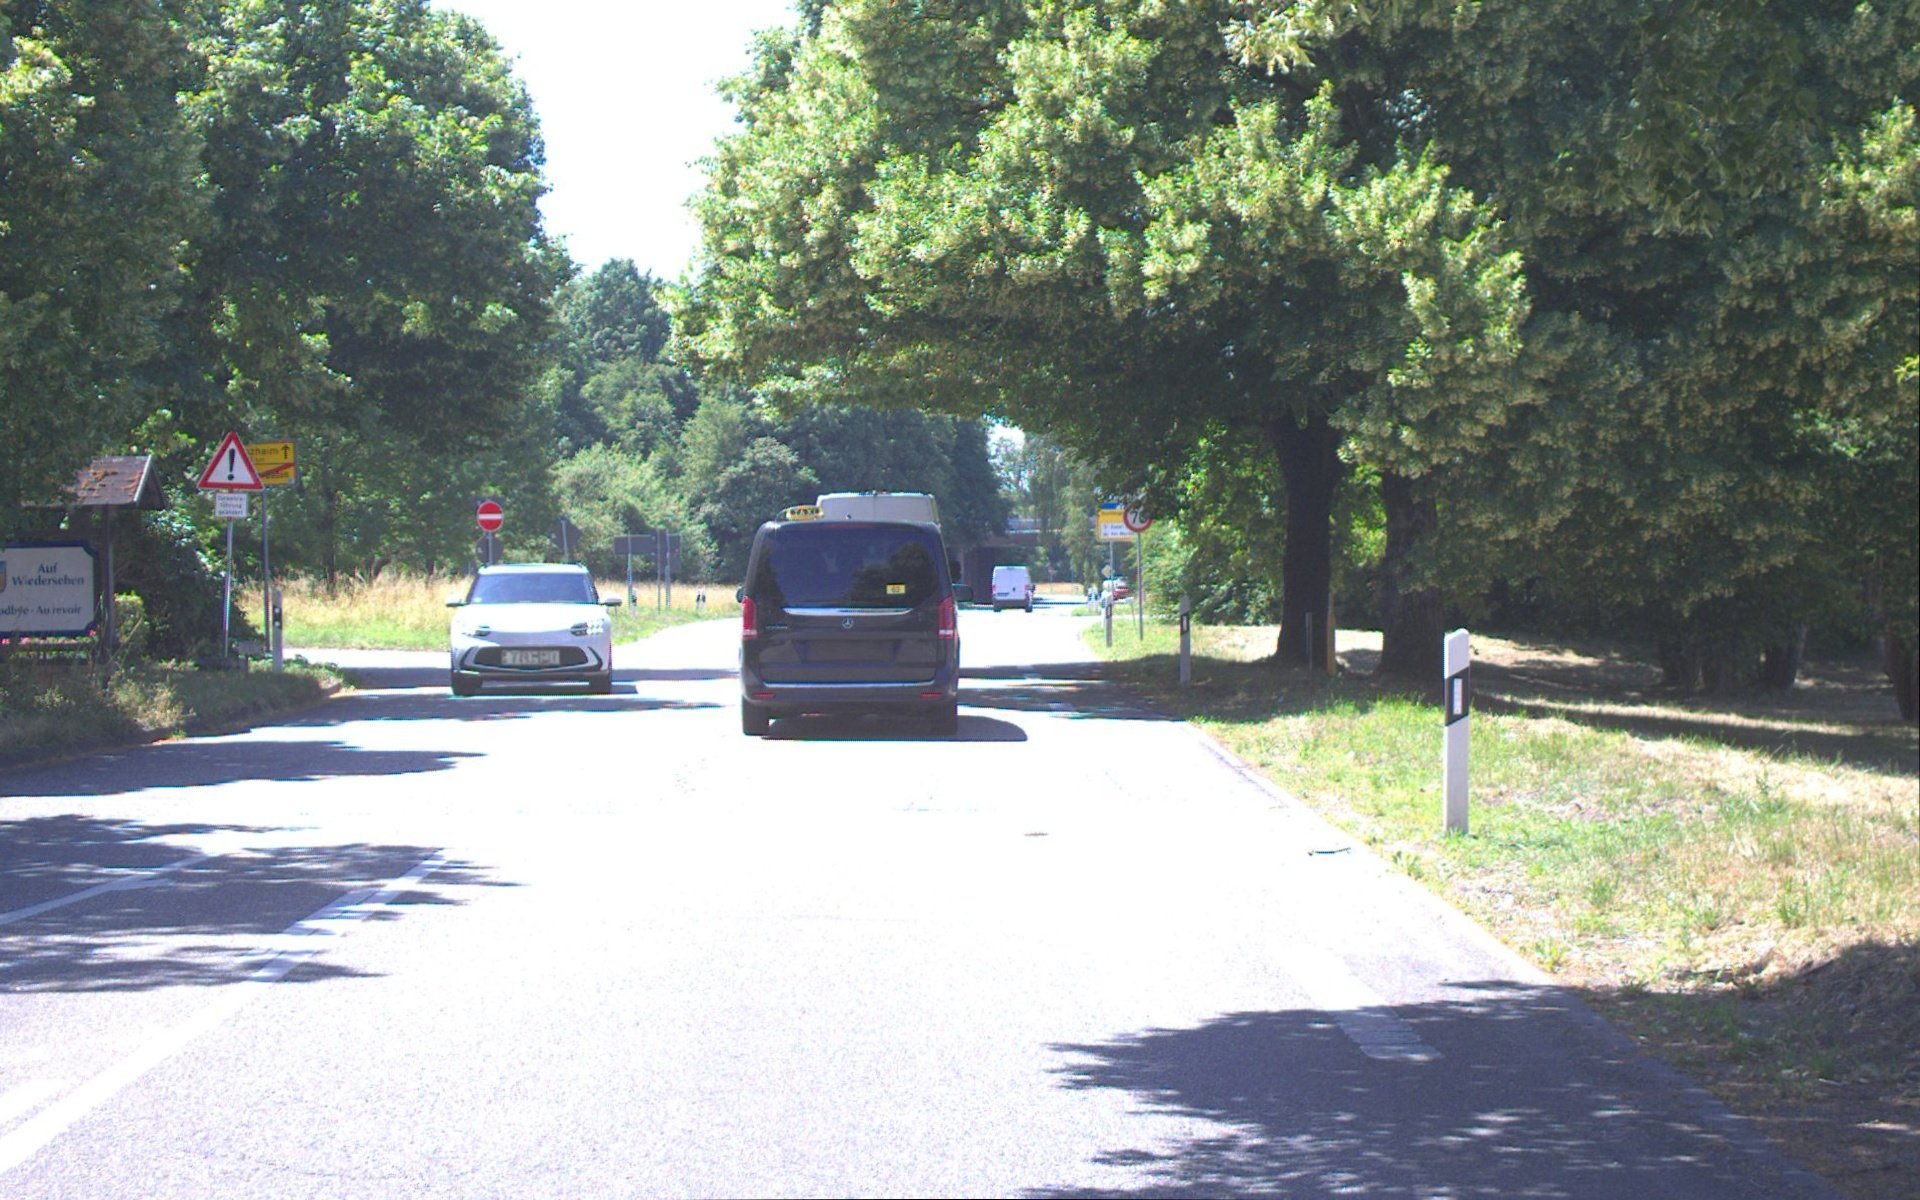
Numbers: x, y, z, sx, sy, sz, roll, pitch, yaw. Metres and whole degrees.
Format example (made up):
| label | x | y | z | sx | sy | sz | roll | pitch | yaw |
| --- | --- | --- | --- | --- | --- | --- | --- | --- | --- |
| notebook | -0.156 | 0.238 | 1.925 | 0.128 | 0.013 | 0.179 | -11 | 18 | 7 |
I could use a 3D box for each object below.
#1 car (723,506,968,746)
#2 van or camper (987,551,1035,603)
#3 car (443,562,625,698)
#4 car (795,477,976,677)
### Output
| label | x | y | z | sx | sy | sz | roll | pitch | yaw |
| --- | --- | --- | --- | --- | --- | --- | --- | --- | --- |
| car | -0.987 | 0.195 | 30.896 | 1.993 | 1.946 | 5.005 | 1 | 0 | -1 |
| van or camper | 2.897 | -1.334 | 196.646 | 2.631 | 2.919 | 5.207 | 0 | 0 | 0 |
| car | -5.294 | 0.333 | 42.629 | 2.094 | 1.583 | 4.476 | 1 | 0 | -7 |
| car | -1.010 | -0.336 | 49.143 | 2.078 | 2.693 | 4.665 | 1 | 0 | 5 |
